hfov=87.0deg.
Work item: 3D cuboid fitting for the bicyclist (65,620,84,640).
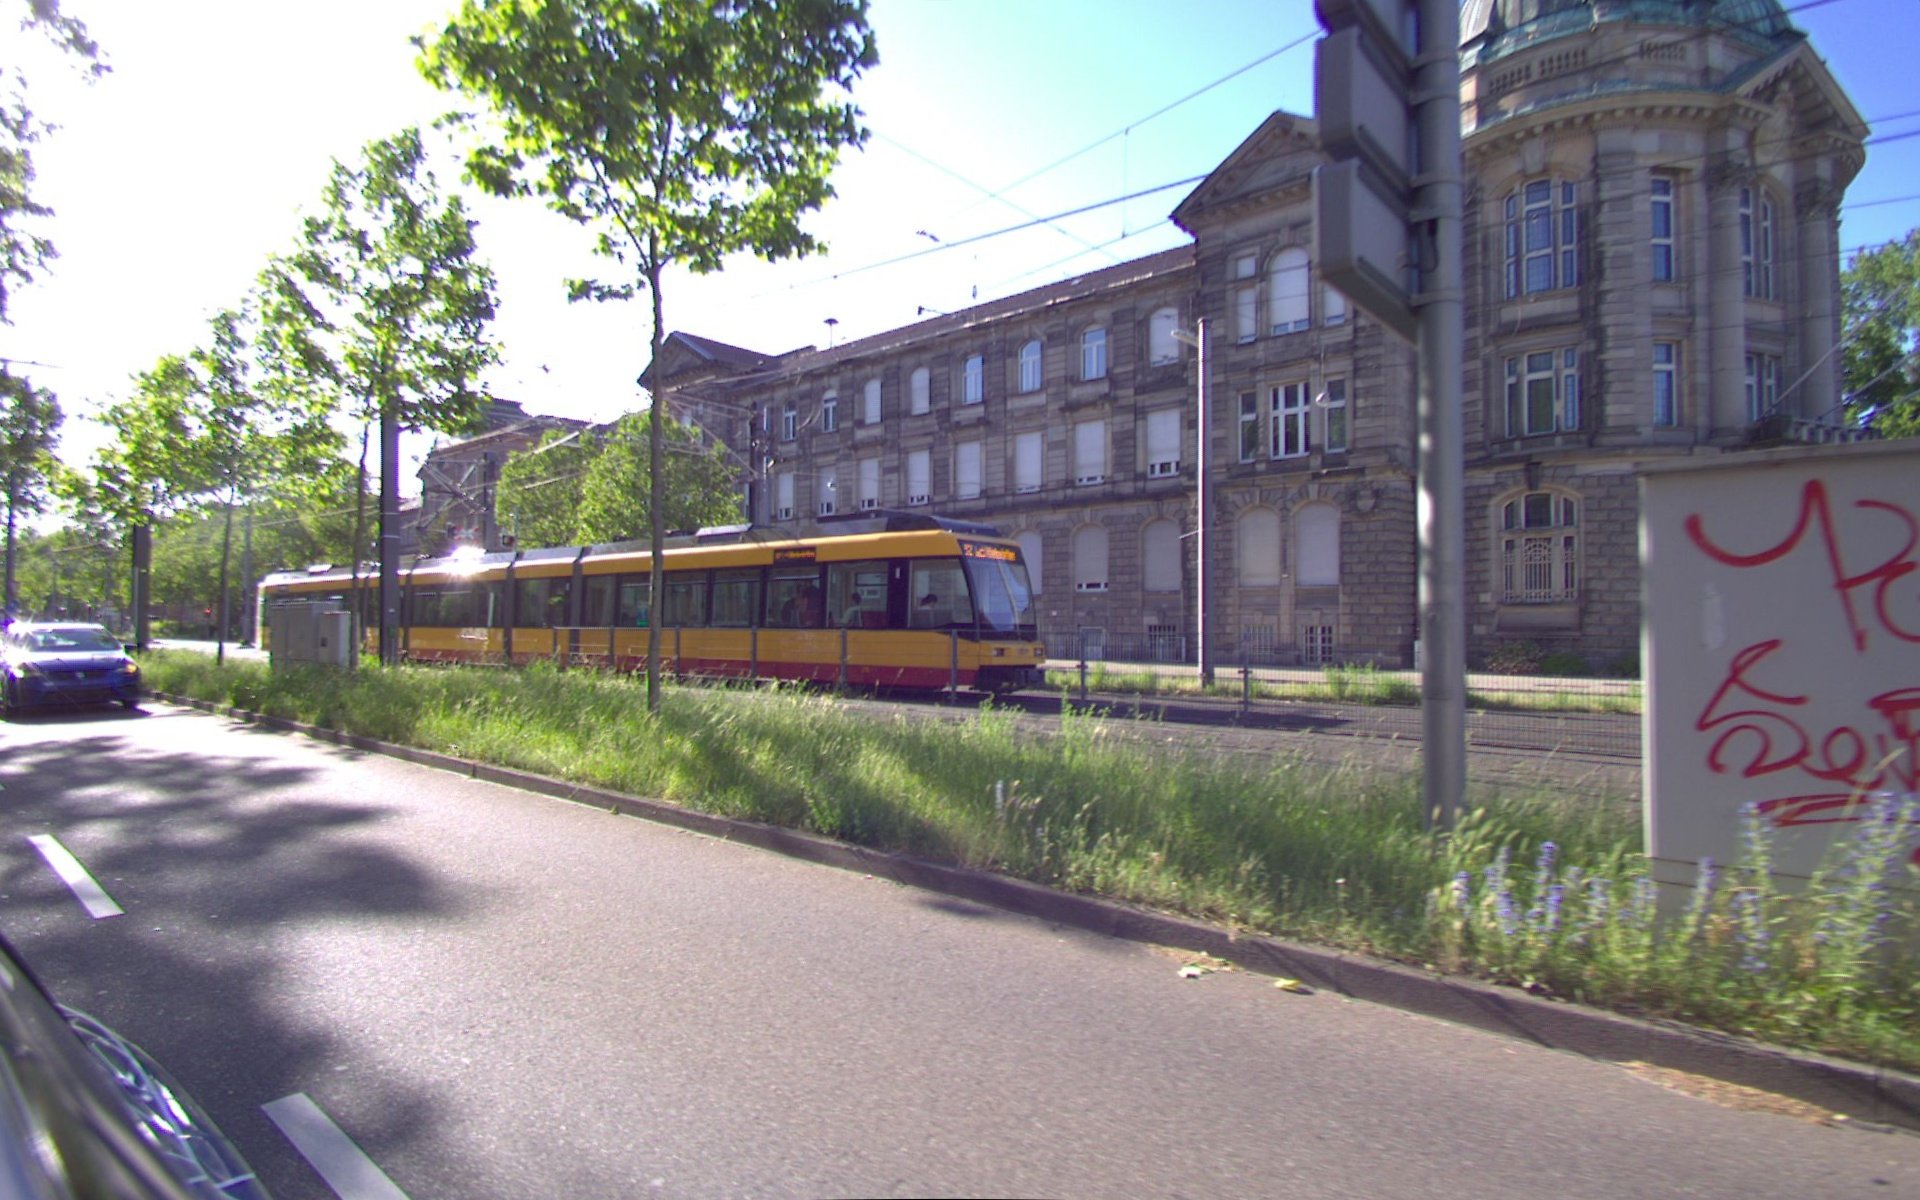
[{"bbox_3d":[-76.412,2.579,87.351,0.826,1.656,0.966,-1,-1,9],"label":"bicyclist"}]

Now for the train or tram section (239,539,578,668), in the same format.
[{"bbox_3d":[-20.280,0.303,35.473,21.200,3.510,2.933,-1,-1,40],"label":"train or tram section"}]

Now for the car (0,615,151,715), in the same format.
[{"bbox_3d":[-15.316,1.029,17.202,3.866,1.459,1.755,-1,0,41],"label":"car"}]

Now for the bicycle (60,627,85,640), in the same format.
[{"bbox_3d":[-76.584,2.877,87.352,0.538,1.049,1.658,0,-1,10],"label":"bicycle"}]

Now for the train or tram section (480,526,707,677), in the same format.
[{"bbox_3d":[-9.765,0.090,26.702,6.053,3.510,2.927,-1,-1,39],"label":"train or tram section"}]

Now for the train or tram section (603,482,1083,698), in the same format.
[{"bbox_3d":[-3.028,-0.058,21.121,11.275,3.510,2.932,-1,-1,39],"label":"train or tram section"}]

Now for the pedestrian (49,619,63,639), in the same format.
[{"bbox_3d":[-80.696,2.586,90.337,0.692,1.758,0.592,-1,0,9],"label":"pedestrian"}]

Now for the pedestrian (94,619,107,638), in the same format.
[{"bbox_3d":[-76.286,2.518,89.813,0.692,1.633,0.592,-1,0,9],"label":"pedestrian"}]
